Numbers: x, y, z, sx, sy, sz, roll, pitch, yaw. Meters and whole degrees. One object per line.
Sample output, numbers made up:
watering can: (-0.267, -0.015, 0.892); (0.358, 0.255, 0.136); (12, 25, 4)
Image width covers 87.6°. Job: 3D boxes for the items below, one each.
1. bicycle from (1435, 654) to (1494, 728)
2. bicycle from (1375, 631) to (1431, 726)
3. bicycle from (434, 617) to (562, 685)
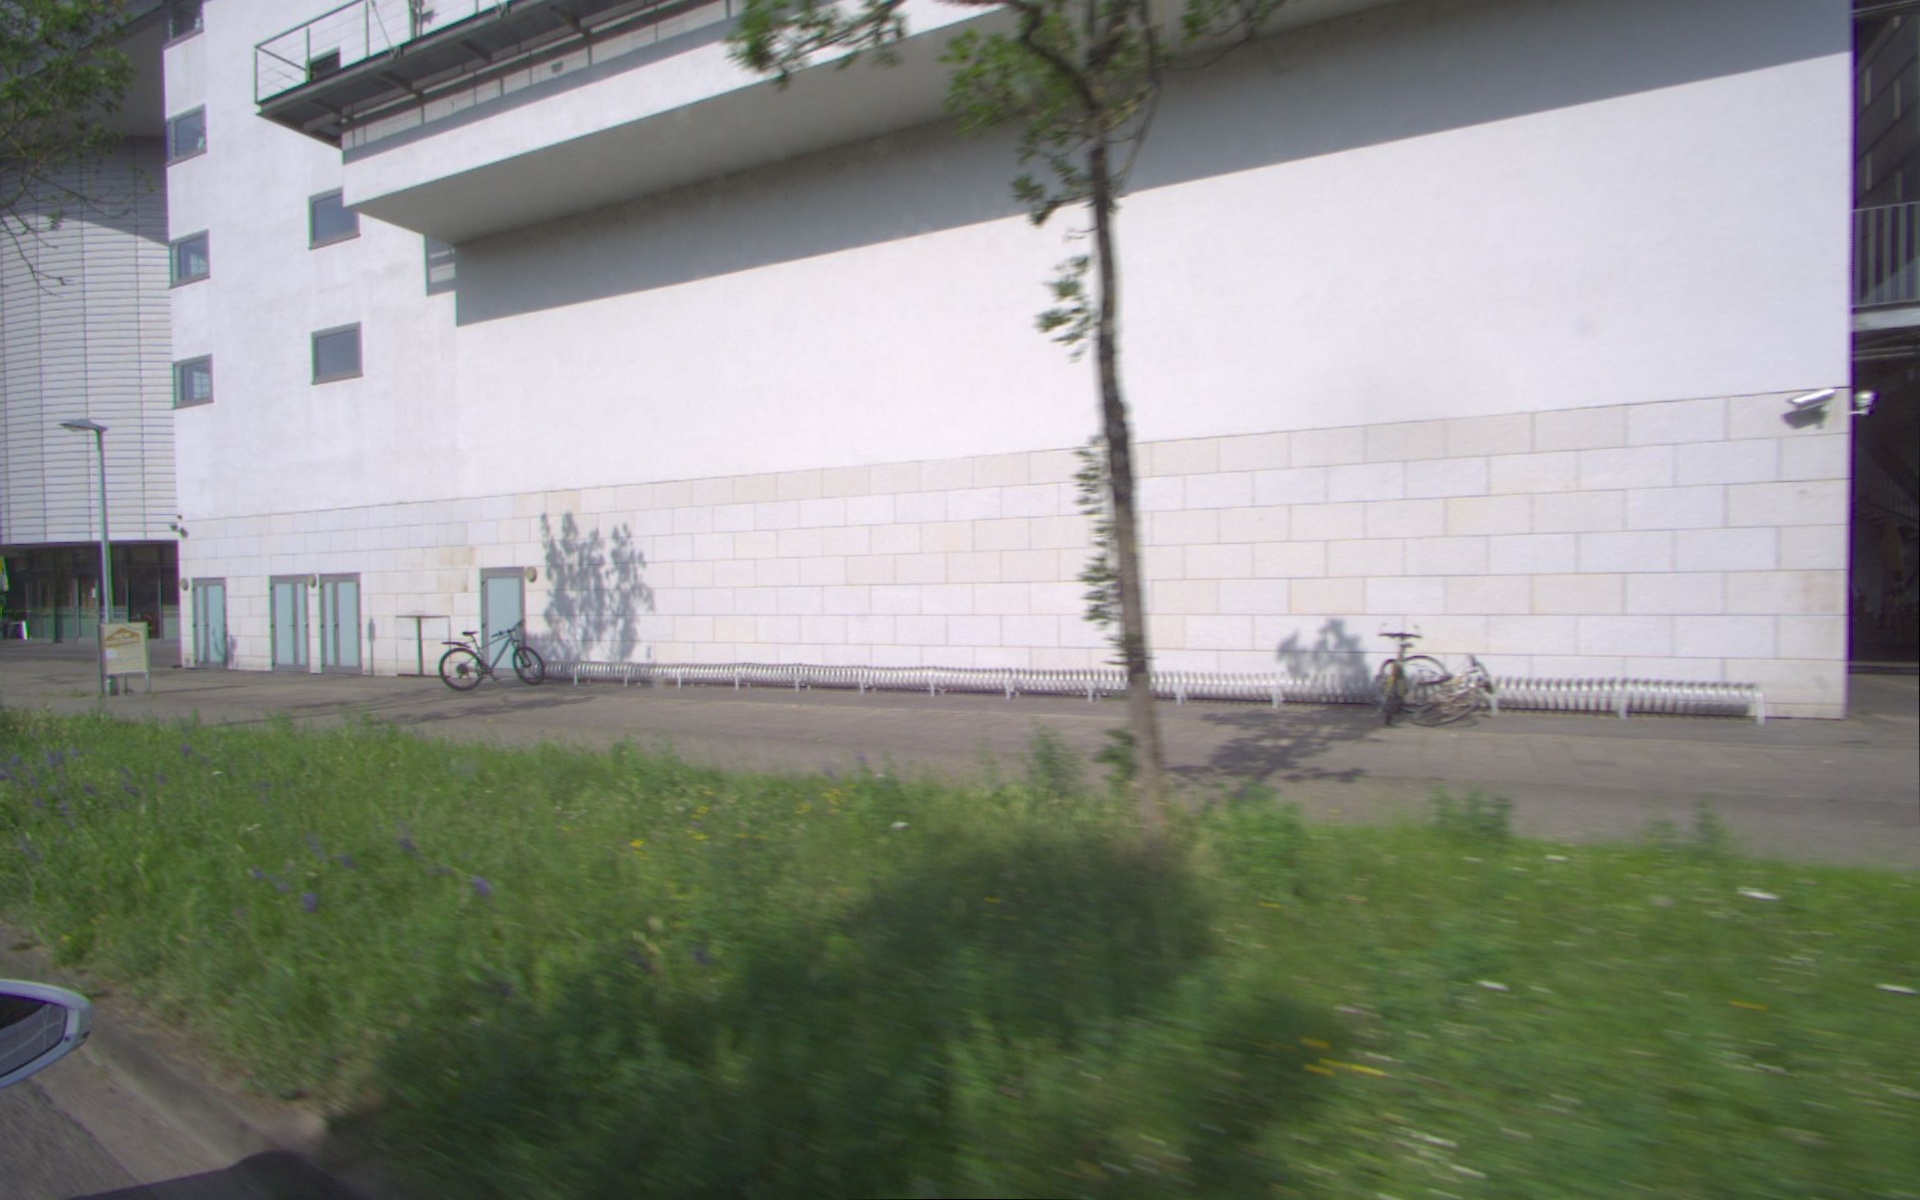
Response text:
bicycle: (5.462, 0.949, 10.836); (0.530, 0.653, 1.656); (0, 0, 27)
bicycle: (4.924, 0.824, 11.088); (0.475, 0.927, 1.656); (0, 0, 27)
bicycle: (-8.053, 0.860, 17.549); (0.665, 1.117, 2.005); (0, 0, 31)
